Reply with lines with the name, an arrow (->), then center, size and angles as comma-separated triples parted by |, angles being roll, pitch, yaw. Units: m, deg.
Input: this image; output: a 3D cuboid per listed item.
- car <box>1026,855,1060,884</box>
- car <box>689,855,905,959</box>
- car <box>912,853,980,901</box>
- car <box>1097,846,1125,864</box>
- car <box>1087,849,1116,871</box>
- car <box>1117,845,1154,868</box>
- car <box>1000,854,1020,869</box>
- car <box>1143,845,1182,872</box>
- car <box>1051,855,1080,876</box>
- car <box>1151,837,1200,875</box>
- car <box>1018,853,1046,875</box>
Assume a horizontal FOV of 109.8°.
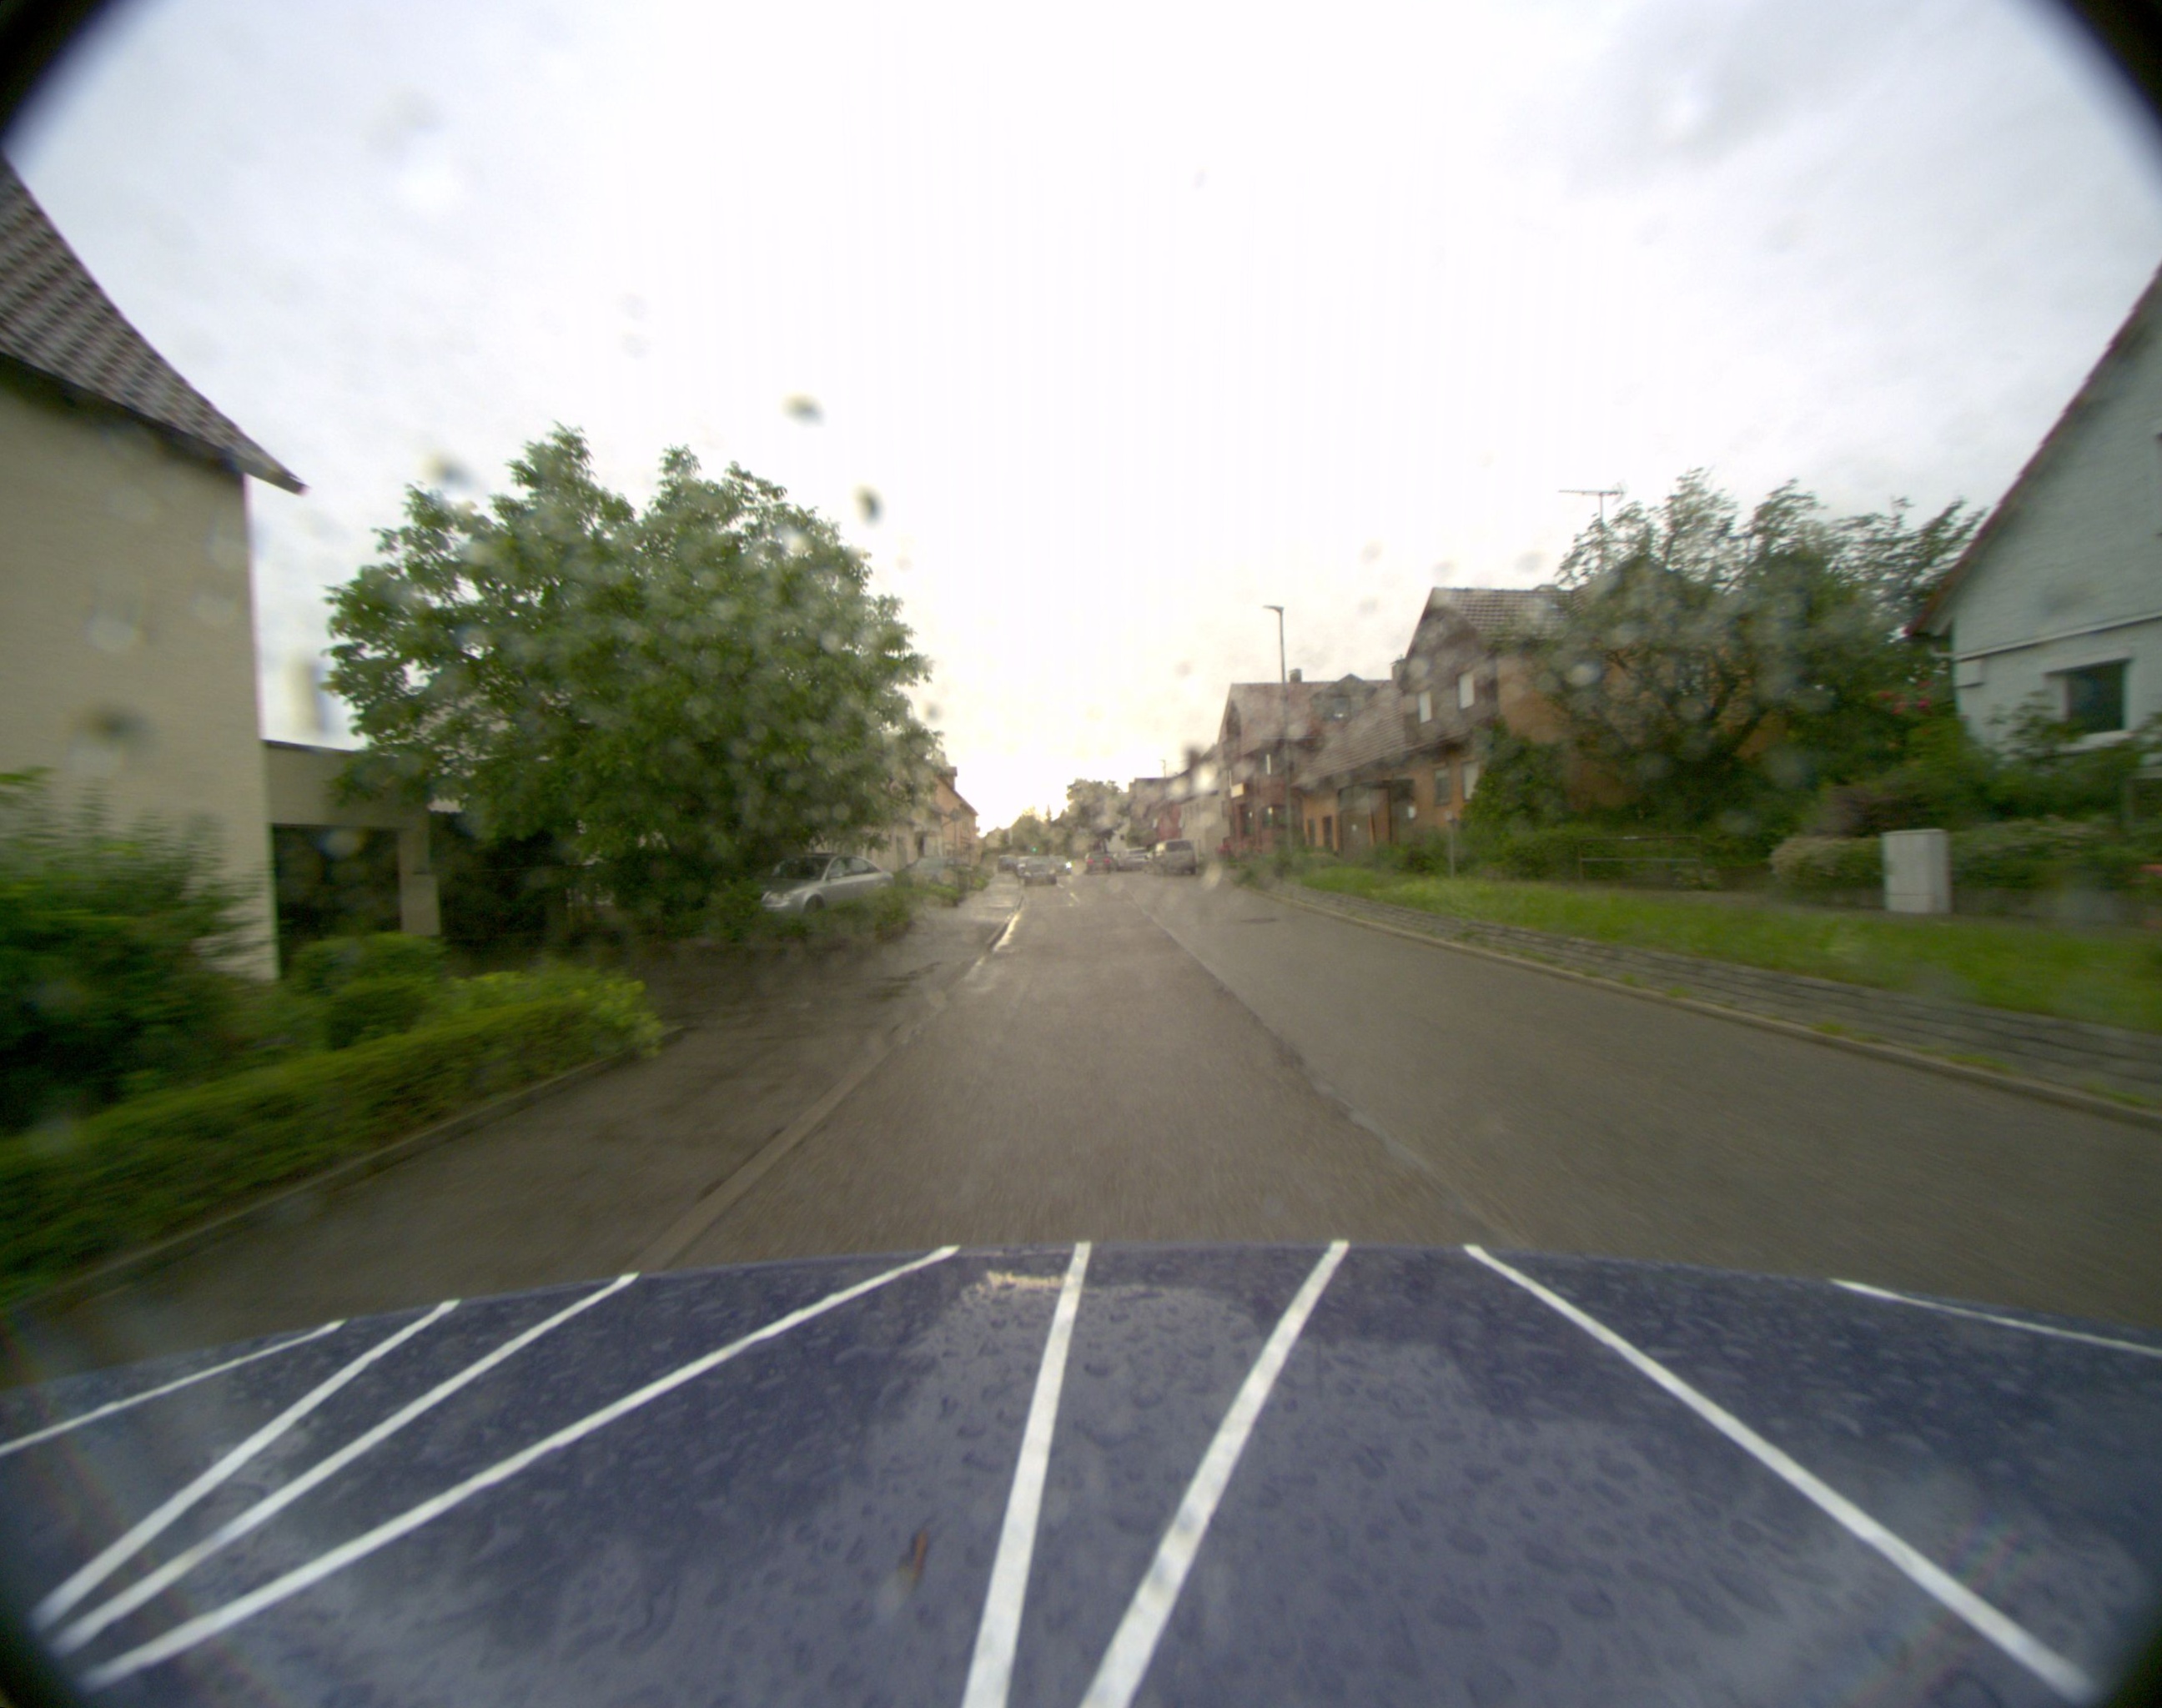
car -> -2.169, 0.832, 42.796 | 1.788, 1.455, 3.998 | -3, 0, -4
car -> -5.565, 0.959, 15.639 | 1.910, 1.701, 4.483 | -3, 0, 13
car -> -5.086, 0.816, 29.194 | 1.999, 1.644, 4.068 | -3, 0, -3
car -> 2.804, 0.099, 71.932 | 1.813, 1.612, 3.997 | -3, 0, -9
car -> 1.525, 0.419, 57.653 | 1.812, 1.565, 3.998 | -3, 0, -4
car -> 4.054, 0.191, 57.180 | 1.813, 1.612, 3.997 | -3, 0, -9
car -> -7.843, 0.848, 84.215 | 2.000, 1.521, 3.997 | -4, 0, -7
car -> 5.065, 0.265, 47.788 | 1.812, 1.565, 3.663 | -3, 0, -4
car -> -1.277, 0.911, 61.614 | 1.999, 1.521, 3.998 | -4, 0, -5
car -> 5.262, 0.080, 42.809 | 1.846, 1.912, 4.188 | -4, 1, -4
car -> -3.824, 0.756, 59.388 | 1.999, 1.521, 3.998 | -3, 0, -4
